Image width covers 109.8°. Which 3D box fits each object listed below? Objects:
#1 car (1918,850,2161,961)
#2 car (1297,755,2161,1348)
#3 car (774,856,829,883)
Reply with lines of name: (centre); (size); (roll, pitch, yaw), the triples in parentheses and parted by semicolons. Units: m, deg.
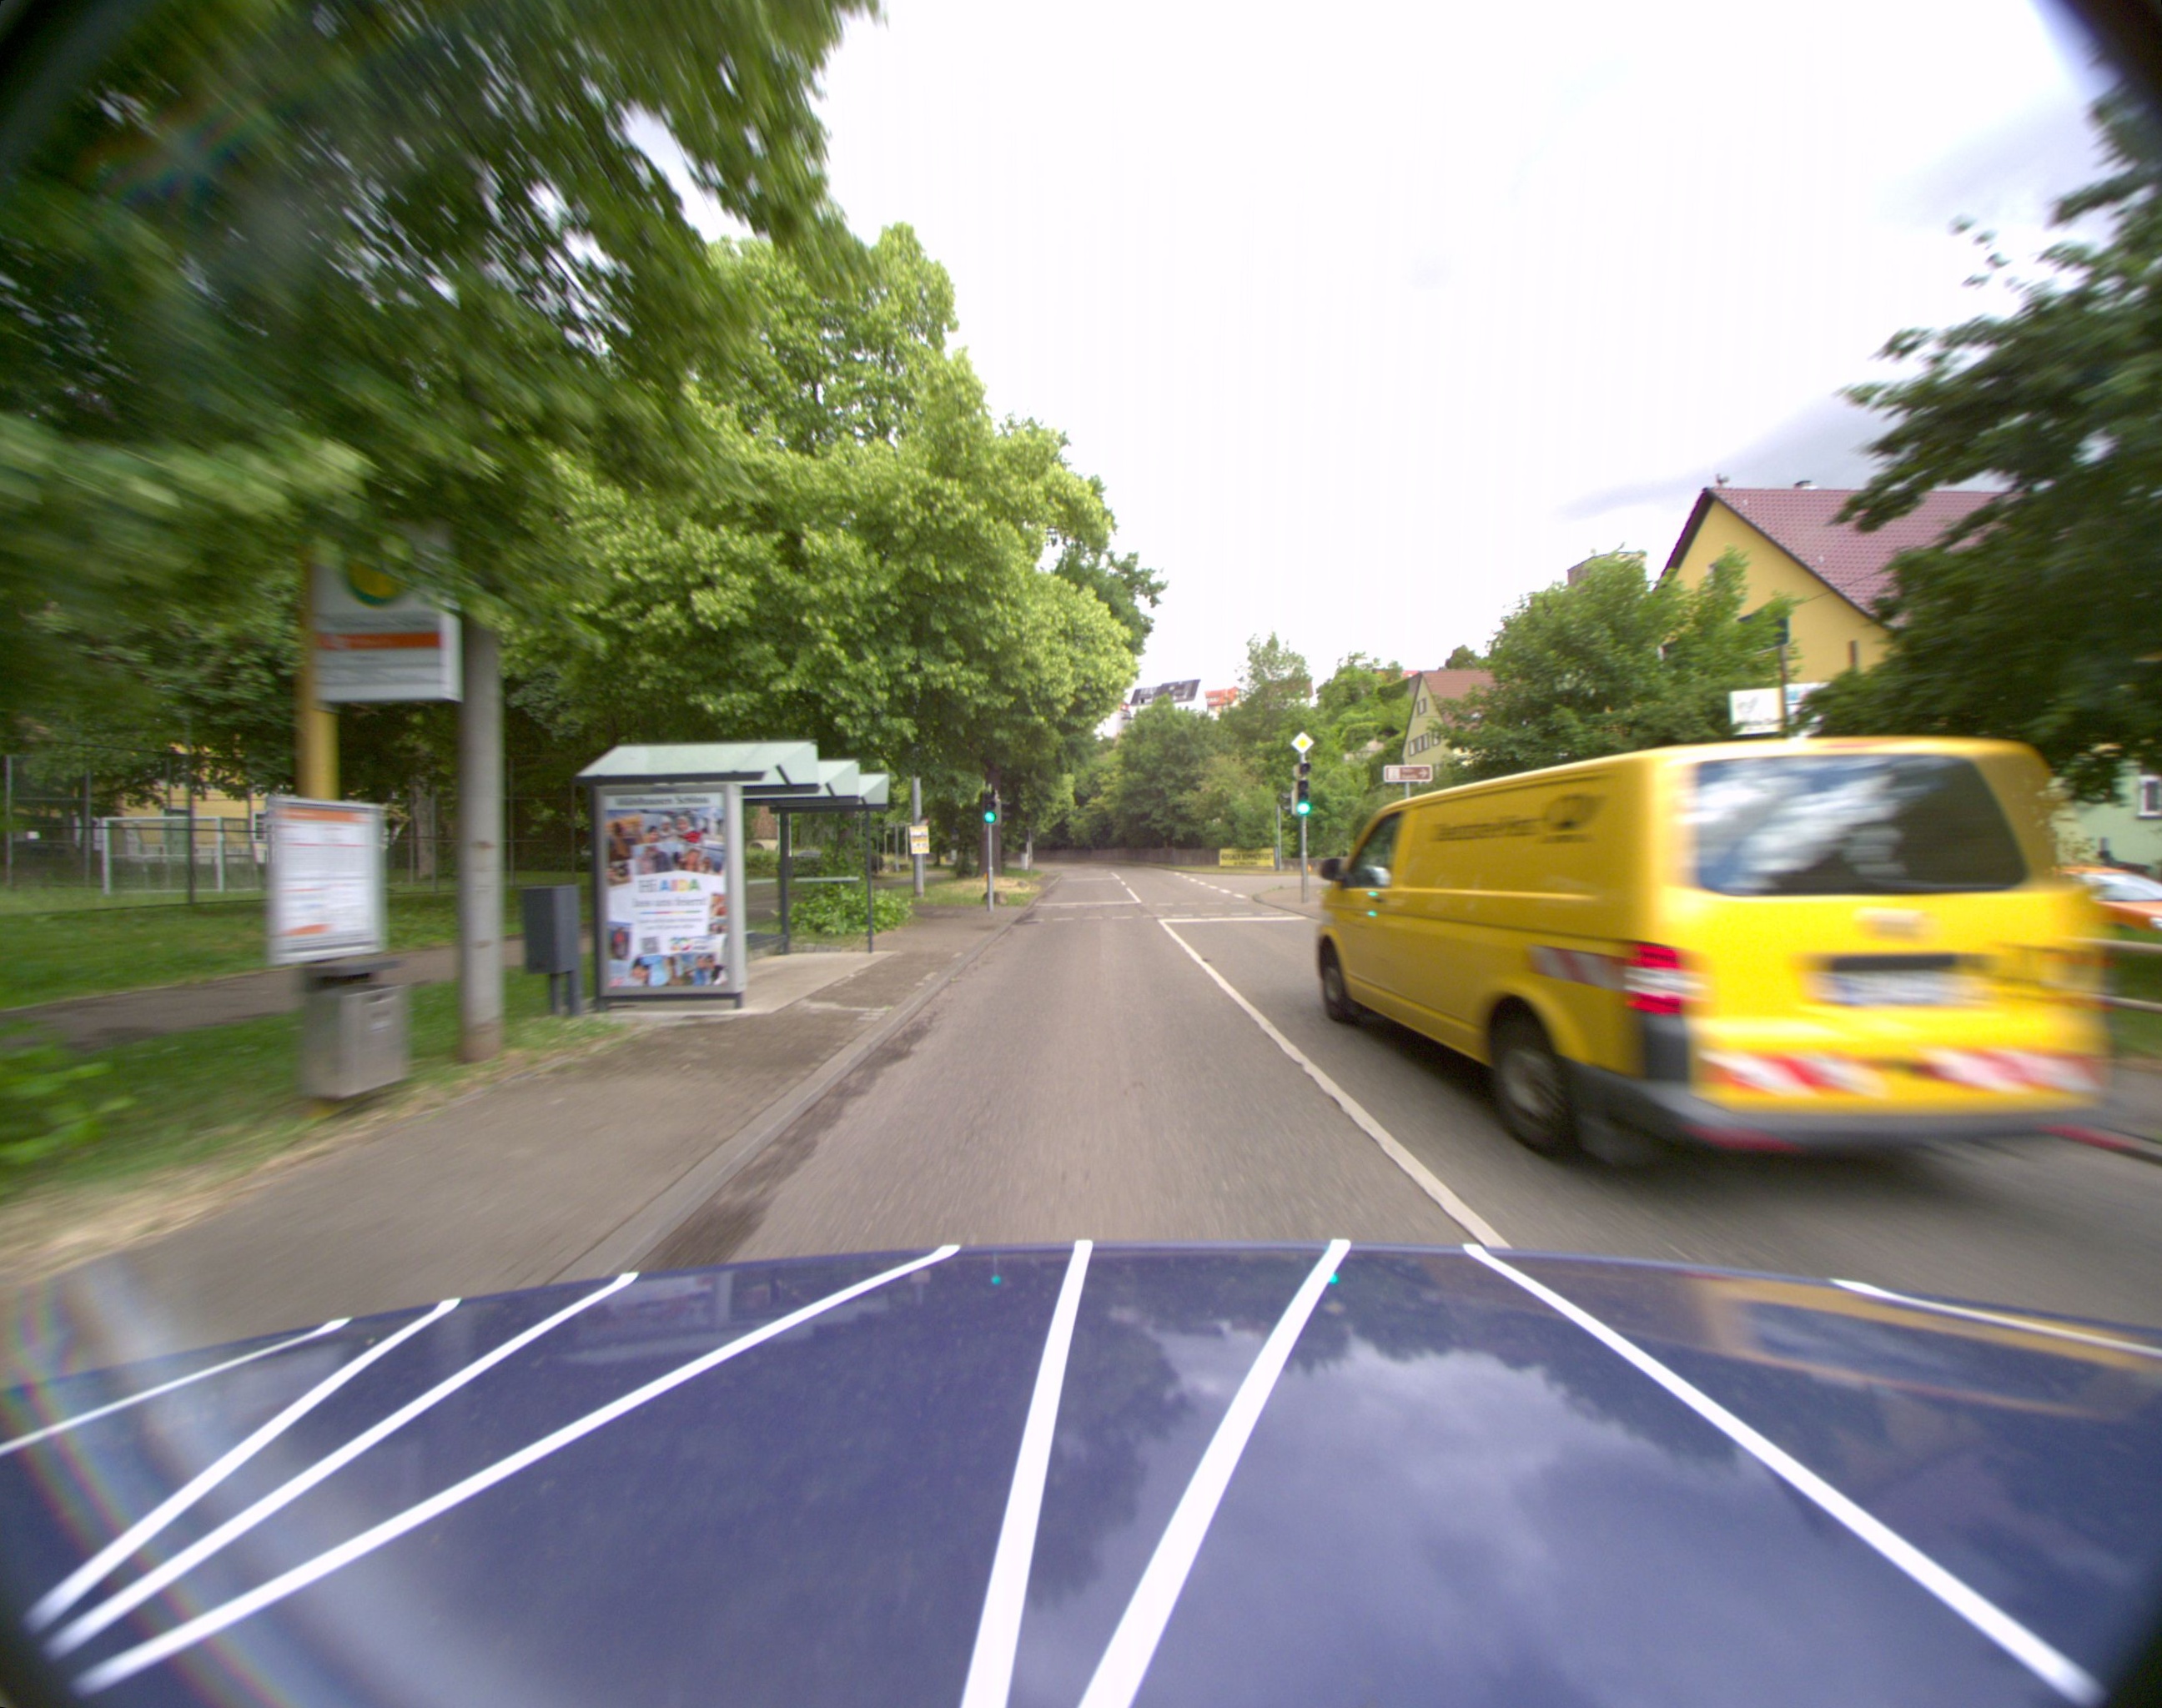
car: (16.789, 0.747, 12.386); (1.952, 1.608, 4.001); (1, 1, 3)
car: (2.991, 0.631, 4.875); (1.850, 1.919, 4.768); (-1, 1, 0)
car: (-15.439, 0.904, 42.194); (1.912, 1.422, 4.465); (1, -2, -7)
